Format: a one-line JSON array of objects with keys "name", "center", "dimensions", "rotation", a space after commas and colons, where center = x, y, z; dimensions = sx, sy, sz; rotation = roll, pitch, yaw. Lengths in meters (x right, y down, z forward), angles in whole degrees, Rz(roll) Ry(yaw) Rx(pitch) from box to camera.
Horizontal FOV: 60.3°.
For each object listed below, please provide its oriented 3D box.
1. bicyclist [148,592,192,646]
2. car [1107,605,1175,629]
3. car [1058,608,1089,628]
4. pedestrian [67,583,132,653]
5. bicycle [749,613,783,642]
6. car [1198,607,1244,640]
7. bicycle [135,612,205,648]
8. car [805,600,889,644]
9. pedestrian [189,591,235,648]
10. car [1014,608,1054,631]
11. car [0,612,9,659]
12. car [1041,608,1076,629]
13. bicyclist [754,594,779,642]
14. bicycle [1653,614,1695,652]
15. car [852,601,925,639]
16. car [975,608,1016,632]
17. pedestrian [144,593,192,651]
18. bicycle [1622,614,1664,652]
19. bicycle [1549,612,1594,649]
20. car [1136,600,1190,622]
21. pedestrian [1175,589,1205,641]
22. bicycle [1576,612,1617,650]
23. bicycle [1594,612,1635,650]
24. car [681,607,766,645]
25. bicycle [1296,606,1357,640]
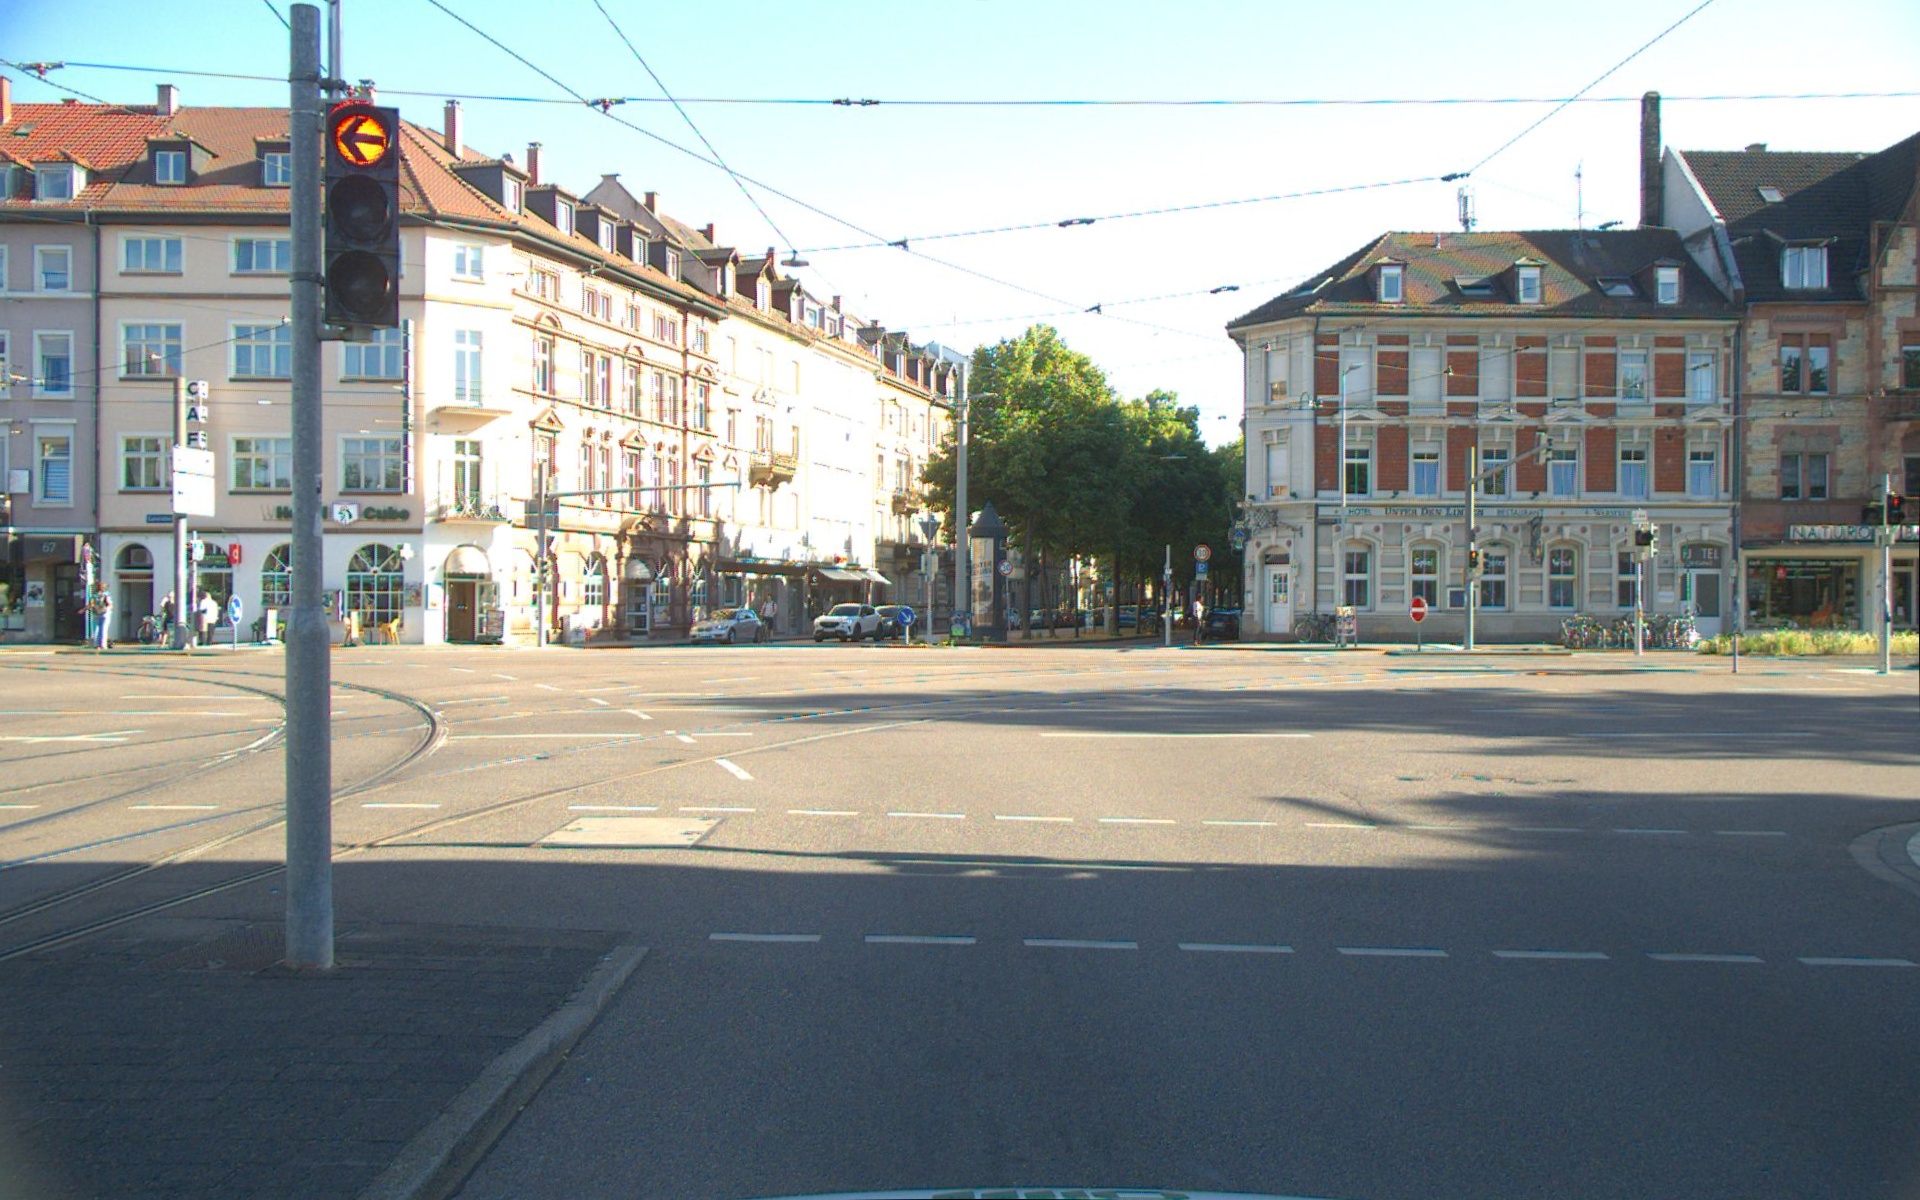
[{"name": "bicyclist", "center": [-26.721, 0.627, 55.938], "dimensions": [1.142, 1.806, 0.748], "rotation": [0, 0, -2]}, {"name": "car", "center": [12.645, 1.192, 115.512], "dimensions": [4.290, 1.640, 1.998], "rotation": [0, 0, 26]}, {"name": "car", "center": [9.389, 1.454, 136.466], "dimensions": [1.727, 1.576, 4.394], "rotation": [0, 0, 16]}, {"name": "pedestrian", "center": [-21.567, 0.446, 41.495], "dimensions": [1.058, 1.714, 1.103], "rotation": [0, 0, -1]}, {"name": "bicycle", "center": [-7.597, 1.077, 64.891], "dimensions": [0.665, 1.085, 2.127], "rotation": [0, 0, 12]}, {"name": "car", "center": [13.069, 1.153, 82.637], "dimensions": [1.951, 1.613, 4.003], "rotation": [0, 0, 13]}, {"name": "bicycle", "center": [-26.674, 0.994, 55.866], "dimensions": [2.048, 1.202, 0.631], "rotation": [0, 0, -1]}, {"name": "car", "center": [-4.543, 0.879, 67.255], "dimensions": [1.951, 1.713, 4.393], "rotation": [0, 0, 17]}, {"name": "pedestrian", "center": [-24.225, 0.624, 53.573], "dimensions": [0.918, 1.806, 1.010], "rotation": [0, 0, 13]}, {"name": "car", "center": [5.524, 1.418, 122.741], "dimensions": [1.951, 1.640, 4.393], "rotation": [0, 0, 17]}, {"name": "car", "center": [-32.398, 1.141, 51.946], "dimensions": [3.907, 1.478, 1.999], "rotation": [0, 0, -3]}, {"name": "car", "center": [7.777, 1.415, 130.565], "dimensions": [1.798, 1.579, 4.393], "rotation": [0, 0, 16]}, {"name": "bicyclist", "center": [-7.586, 0.690, 64.934], "dimensions": [0.664, 1.852, 1.071], "rotation": [0, 0, 12]}, {"name": "bicycle", "center": [23.037, 1.052, 53.401], "dimensions": [0.596, 1.156, 2.136], "rotation": [0, 0, 4]}, {"name": "car", "center": [-3.149, 0.857, 73.790], "dimensions": [1.951, 1.640, 4.393], "rotation": [0, 0, 17]}, {"name": "car", "center": [2.410, 1.318, 110.993], "dimensions": [1.951, 1.512, 4.003], "rotation": [0, 0, 13]}, {"name": "pedestrian", "center": [-24.893, 0.681, 52.008], "dimensions": [0.985, 1.806, 0.942], "rotation": [0, 0, 14]}, {"name": "bicycle", "center": [22.073, 1.048, 53.453], "dimensions": [0.605, 1.163, 2.175], "rotation": [0, 0, 4]}, {"name": "bicycle", "center": [19.821, 0.982, 53.661], "dimensions": [0.789, 1.163, 2.175], "rotation": [0, 0, 4]}, {"name": "car", "center": [16.415, 0.877, 133.876], "dimensions": [3.912, 1.736, 1.996], "rotation": [0, 0, 30]}, {"name": "pedestrian", "center": [7.961, 0.511, 57.298], "dimensions": [1.024, 1.774, 0.809], "rotation": [0, 0, 5]}, {"name": "bicycle", "center": [20.593, 0.992, 53.543], "dimensions": [0.605, 1.163, 2.175], "rotation": [0, 0, 4]}, {"name": "bicycle", "center": [21.165, 0.987, 53.513], "dimensions": [0.605, 1.163, 2.175], "rotation": [0, 0, 4]}, {"name": "car", "center": [-9.527, 1.031, 66.902], "dimensions": [1.858, 1.481, 4.002], "rotation": [0, 0, 17]}, {"name": "bicycle", "center": [12.751, 0.812, 57.586], "dimensions": [2.045, 1.144, 0.366], "rotation": [1, -1, -5]}]
